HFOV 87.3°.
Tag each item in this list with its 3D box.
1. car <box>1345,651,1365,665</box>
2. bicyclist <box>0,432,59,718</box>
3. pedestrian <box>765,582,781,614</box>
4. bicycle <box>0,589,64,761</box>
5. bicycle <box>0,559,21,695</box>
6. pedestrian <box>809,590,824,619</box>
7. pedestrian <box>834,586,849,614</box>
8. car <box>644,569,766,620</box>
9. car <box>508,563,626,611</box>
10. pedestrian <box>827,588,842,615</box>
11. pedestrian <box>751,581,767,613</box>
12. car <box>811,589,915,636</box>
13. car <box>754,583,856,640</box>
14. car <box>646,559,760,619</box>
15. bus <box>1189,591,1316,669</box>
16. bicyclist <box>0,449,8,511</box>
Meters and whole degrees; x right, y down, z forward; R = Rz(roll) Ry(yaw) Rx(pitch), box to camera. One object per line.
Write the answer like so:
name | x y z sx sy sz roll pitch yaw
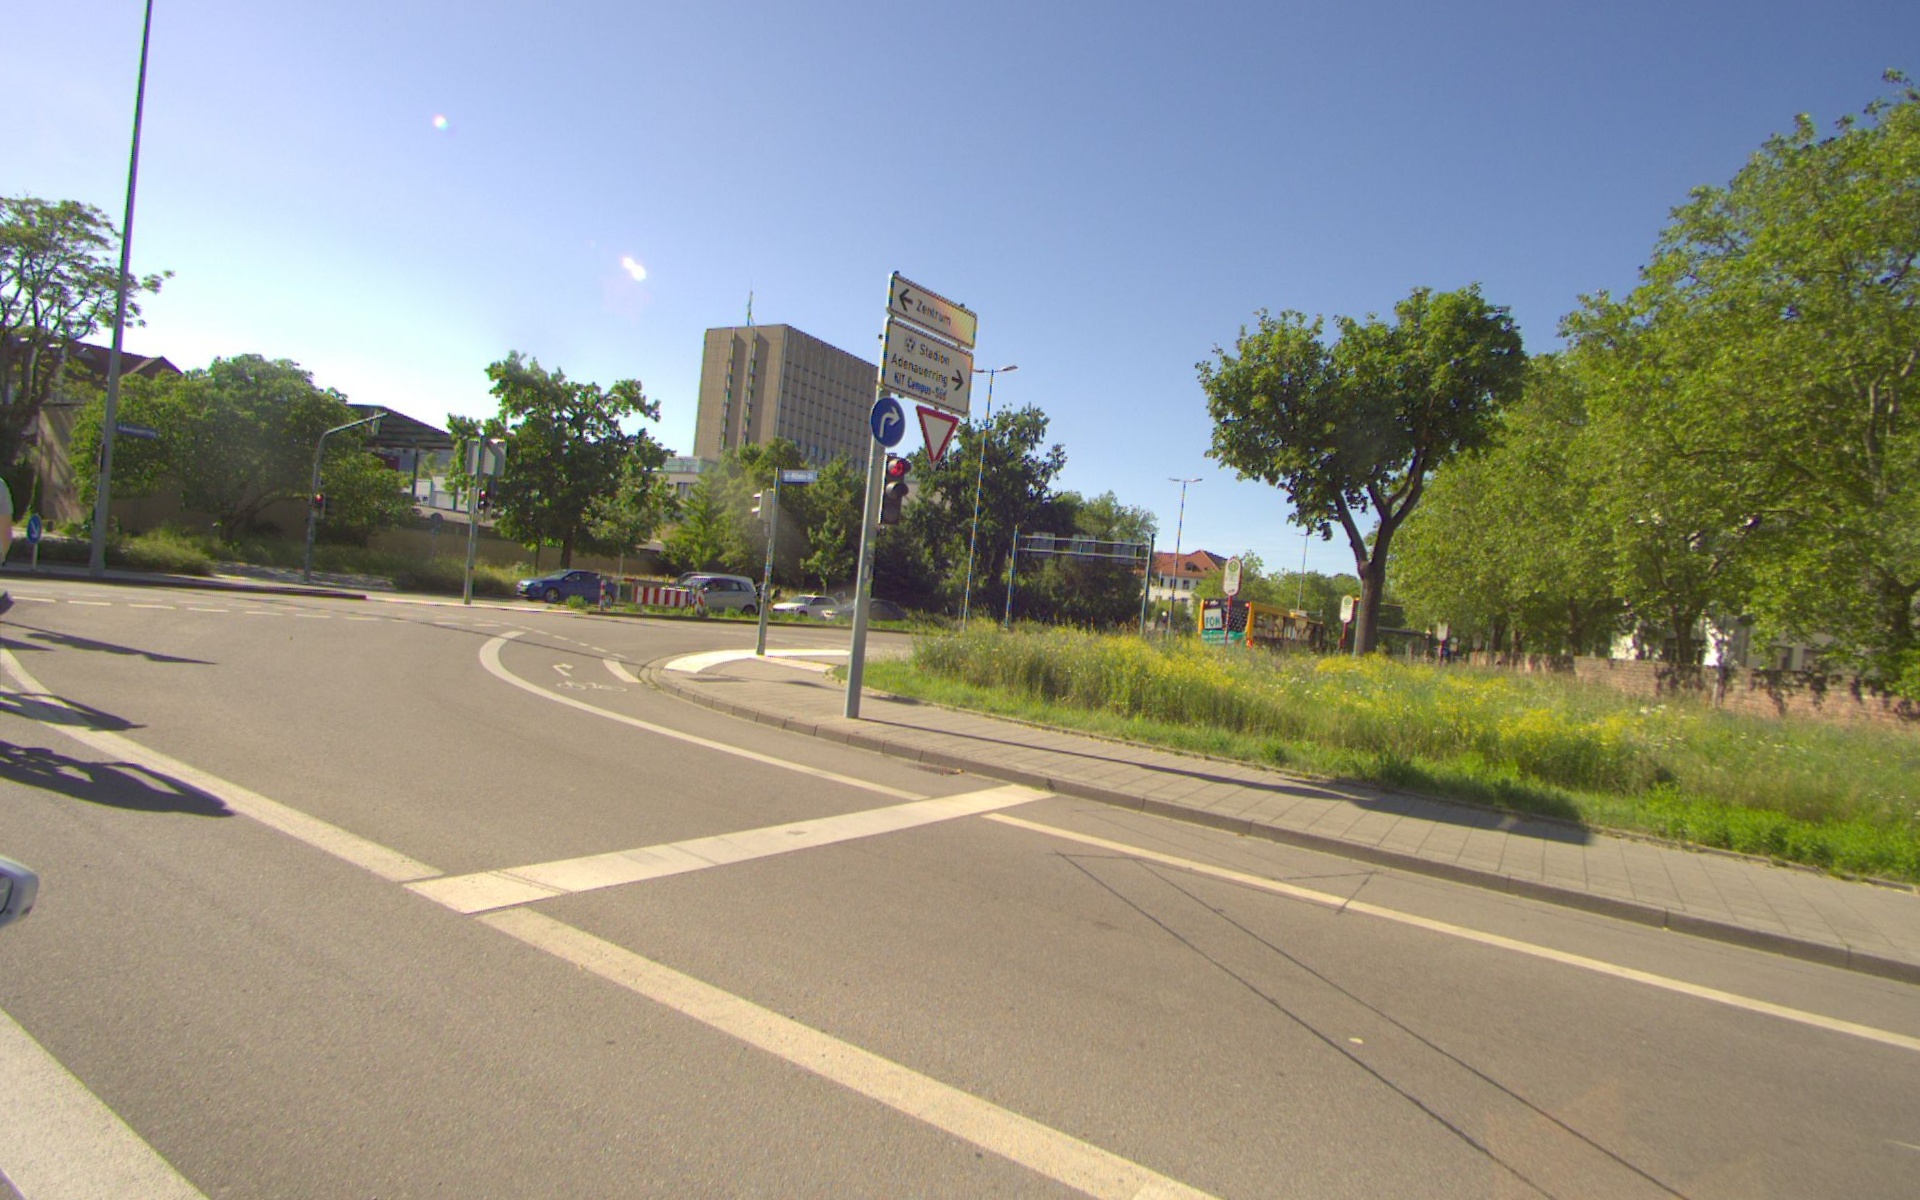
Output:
car | 48.541 7.149 123.574 1.812 1.405 4.066 4 -2 27
bicyclist | -6.219 -0.205 6.087 1.000 1.688 0.752 6 -1 33
pedestrian | -11.192 -0.128 60.088 0.519 1.801 0.561 7 1 35
bicycle | -6.293 0.360 6.087 1.946 0.906 0.741 6 -2 33
bicycle | -8.201 0.089 7.771 1.935 1.014 0.661 6 -1 26
pedestrian | -9.142 0.284 64.031 0.519 1.801 0.561 7 1 35
pedestrian | -7.707 0.006 65.525 0.519 1.801 0.561 7 1 35
car | -9.430 -0.191 37.427 1.840 1.426 4.046 6 0 38
car | -16.088 -0.513 41.337 1.717 1.453 4.162 7 0 38
pedestrian | -8.217 0.097 65.933 0.519 1.716 0.561 7 1 35
pedestrian | -12.125 -0.179 60.595 0.519 1.801 0.561 7 1 35
car | -4.247 0.588 44.797 1.968 1.604 4.736 6 0 33
car | -7.463 0.600 48.906 1.969 2.186 4.783 6 -2 35
car | -12.068 -0.469 47.559 1.970 2.131 4.881 6 -2 38
bus | 14.300 1.582 48.425 2.752 2.662 10.095 6 -2 34
bicyclist | -8.135 -0.373 7.777 1.048 1.759 0.647 7 -1 26
